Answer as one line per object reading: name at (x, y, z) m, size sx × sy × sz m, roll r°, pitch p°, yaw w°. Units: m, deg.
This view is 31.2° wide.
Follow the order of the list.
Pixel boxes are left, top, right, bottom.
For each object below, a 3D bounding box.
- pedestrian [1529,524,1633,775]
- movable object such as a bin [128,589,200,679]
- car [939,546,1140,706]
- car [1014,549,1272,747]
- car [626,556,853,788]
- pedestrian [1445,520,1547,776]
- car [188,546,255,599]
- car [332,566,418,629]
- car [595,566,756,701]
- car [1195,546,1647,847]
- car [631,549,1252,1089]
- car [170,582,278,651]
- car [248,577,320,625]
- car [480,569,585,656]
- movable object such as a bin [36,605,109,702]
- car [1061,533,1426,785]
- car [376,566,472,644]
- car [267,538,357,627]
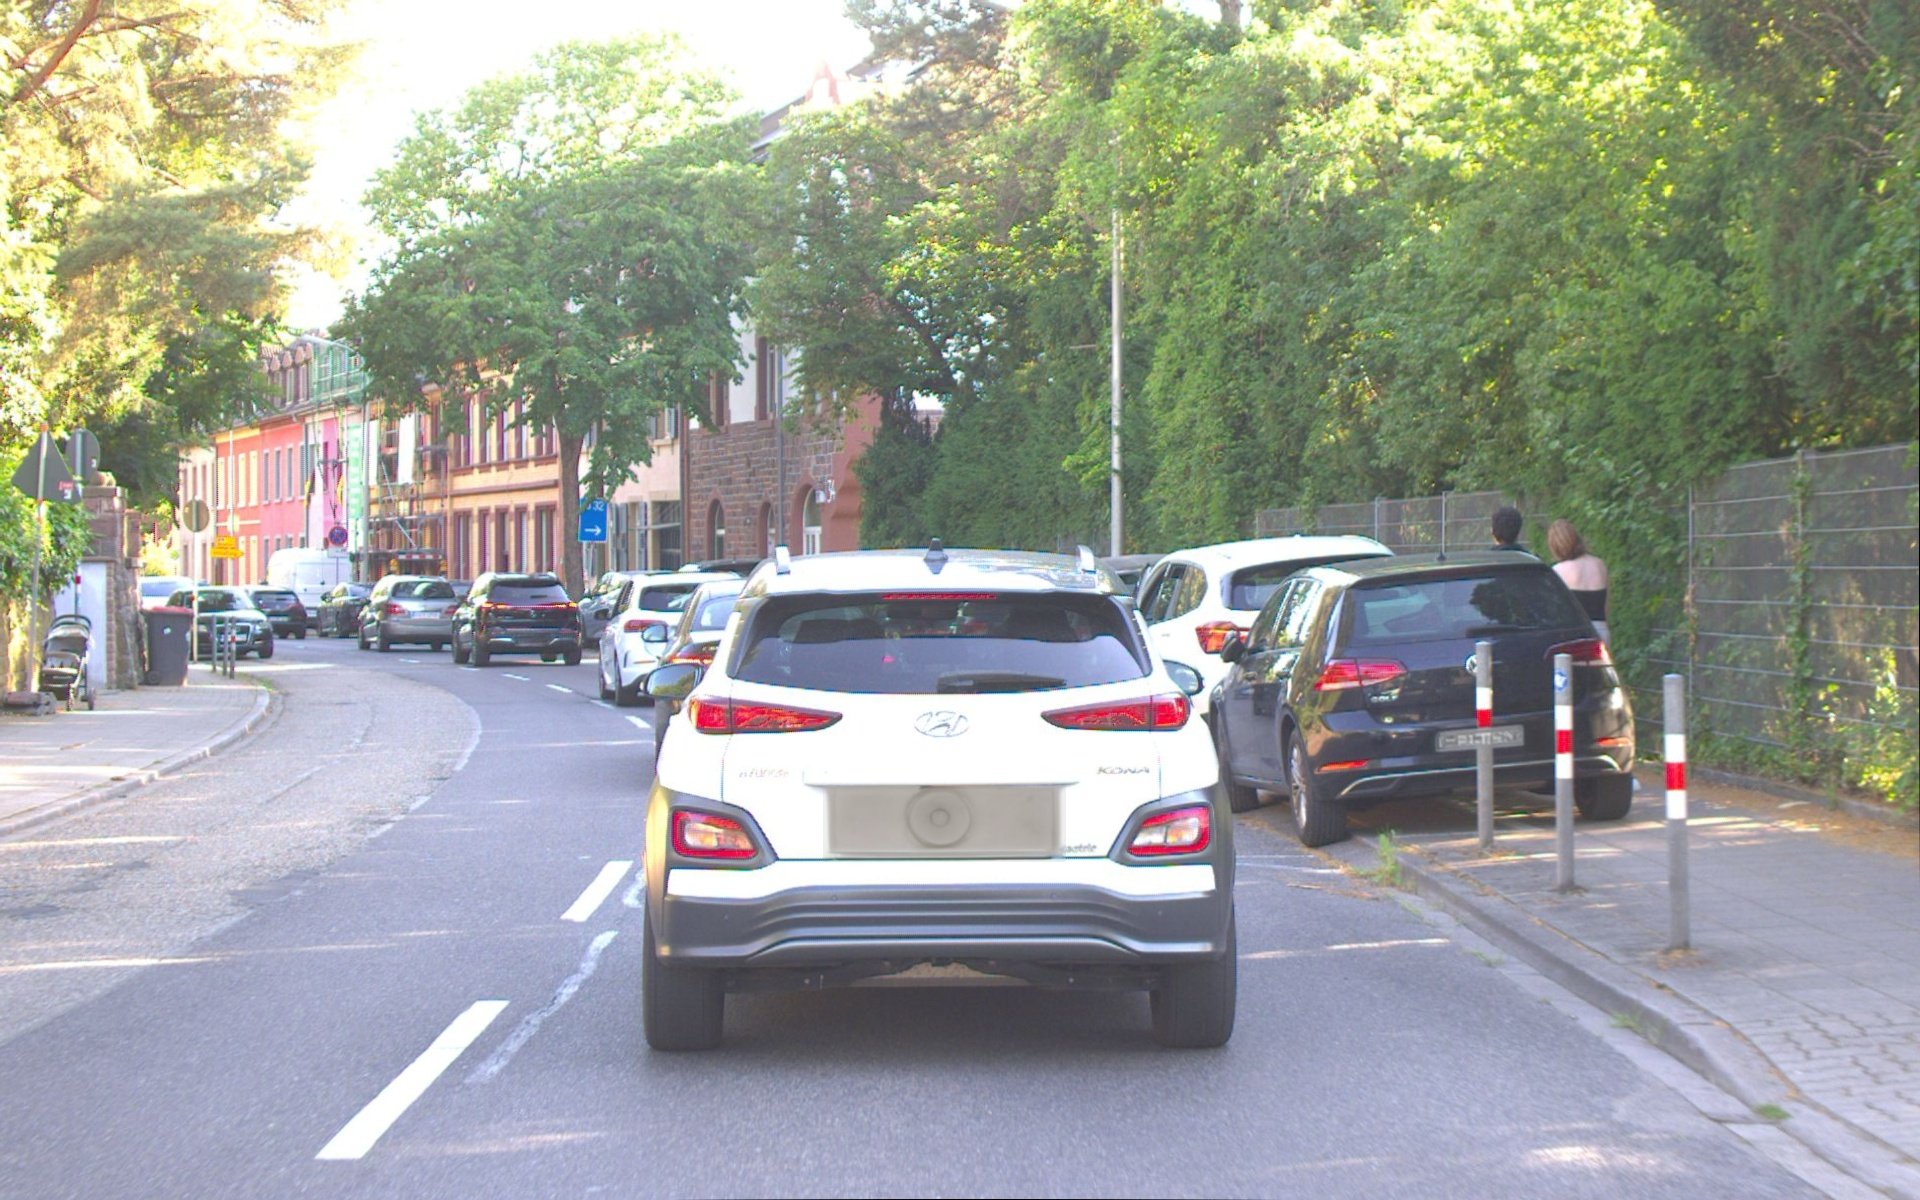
pedestrian at (3.952, 0.309, 21.904) m, size 0.503 × 1.564 × 0.503 m, roll -3°, pitch 0°, yaw 0°
movable object such as a bin at (-10.800, 0.458, 46.661) m, size 0.792 × 1.185 × 0.773 m, roll 1°, pitch 0°, yaw -2°
car at (0.766, 0.231, 35.407) m, size 1.593 × 1.484 × 3.603 m, roll -3°, pitch 1°, yaw -5°
car at (1.513, 0.376, 29.698) m, size 1.593 × 1.514 × 3.933 m, roll -3°, pitch 0°, yaw -5°
car at (-1.581, 0.463, 24.996) m, size 1.511 × 1.528 × 3.548 m, roll -1°, pitch 1°, yaw -3°
pedestrian at (3.423, 0.300, 21.994) m, size 0.503 × 1.601 × 0.491 m, roll -3°, pitch 0°, yaw 0°
car at (-27.328, -1.008, 127.121) m, size 1.717 × 1.929 × 4.001 m, roll -1°, pitch 1°, yaw -22°
car at (-16.111, -0.088, 94.556) m, size 1.755 × 1.611 × 4.001 m, roll 1°, pitch 1°, yaw -18°
car at (-3.361, 0.362, 40.164) m, size 1.570 × 1.472 × 3.549 m, roll 1°, pitch 1°, yaw -9°
car at (2.432, 0.454, 19.096) m, size 1.686 × 1.426 × 4.001 m, roll -2°, pitch 1°, yaw -4°
car at (-0.054, 0.611, 11.860) m, size 1.772 × 1.537 × 4.000 m, roll 0°, pitch 0°, yaw 0°
car at (-14.469, 0.294, 67.497) m, size 1.592 × 1.313 × 3.813 m, roll 0°, pitch 0°, yaw -19°
car at (-18.304, 0.026, 93.003) m, size 1.526 × 1.256 × 3.362 m, roll -1°, pitch 1°, yaw -17°
car at (-7.445, 0.203, 59.658) m, size 1.592 × 1.456 × 3.100 m, roll -1°, pitch 1°, yaw -11°
movable object such as a bin at (-9.447, 0.562, 36.626) m, size 0.495 × 1.008 × 1.113 m, roll 1°, pitch 0°, yaw -1°
car at (1.904, 0.376, 24.275) m, size 1.593 × 1.560 × 4.001 m, roll -2°, pitch 0°, yaw -9°
car at (-11.285, 0.087, 72.216) m, size 1.589 × 1.577 × 3.362 m, roll -1°, pitch 1°, yaw -16°
car at (-19.408, -0.525, 102.818) m, size 1.928 × 2.574 × 4.395 m, roll -1°, pitch 1°, yaw -20°
